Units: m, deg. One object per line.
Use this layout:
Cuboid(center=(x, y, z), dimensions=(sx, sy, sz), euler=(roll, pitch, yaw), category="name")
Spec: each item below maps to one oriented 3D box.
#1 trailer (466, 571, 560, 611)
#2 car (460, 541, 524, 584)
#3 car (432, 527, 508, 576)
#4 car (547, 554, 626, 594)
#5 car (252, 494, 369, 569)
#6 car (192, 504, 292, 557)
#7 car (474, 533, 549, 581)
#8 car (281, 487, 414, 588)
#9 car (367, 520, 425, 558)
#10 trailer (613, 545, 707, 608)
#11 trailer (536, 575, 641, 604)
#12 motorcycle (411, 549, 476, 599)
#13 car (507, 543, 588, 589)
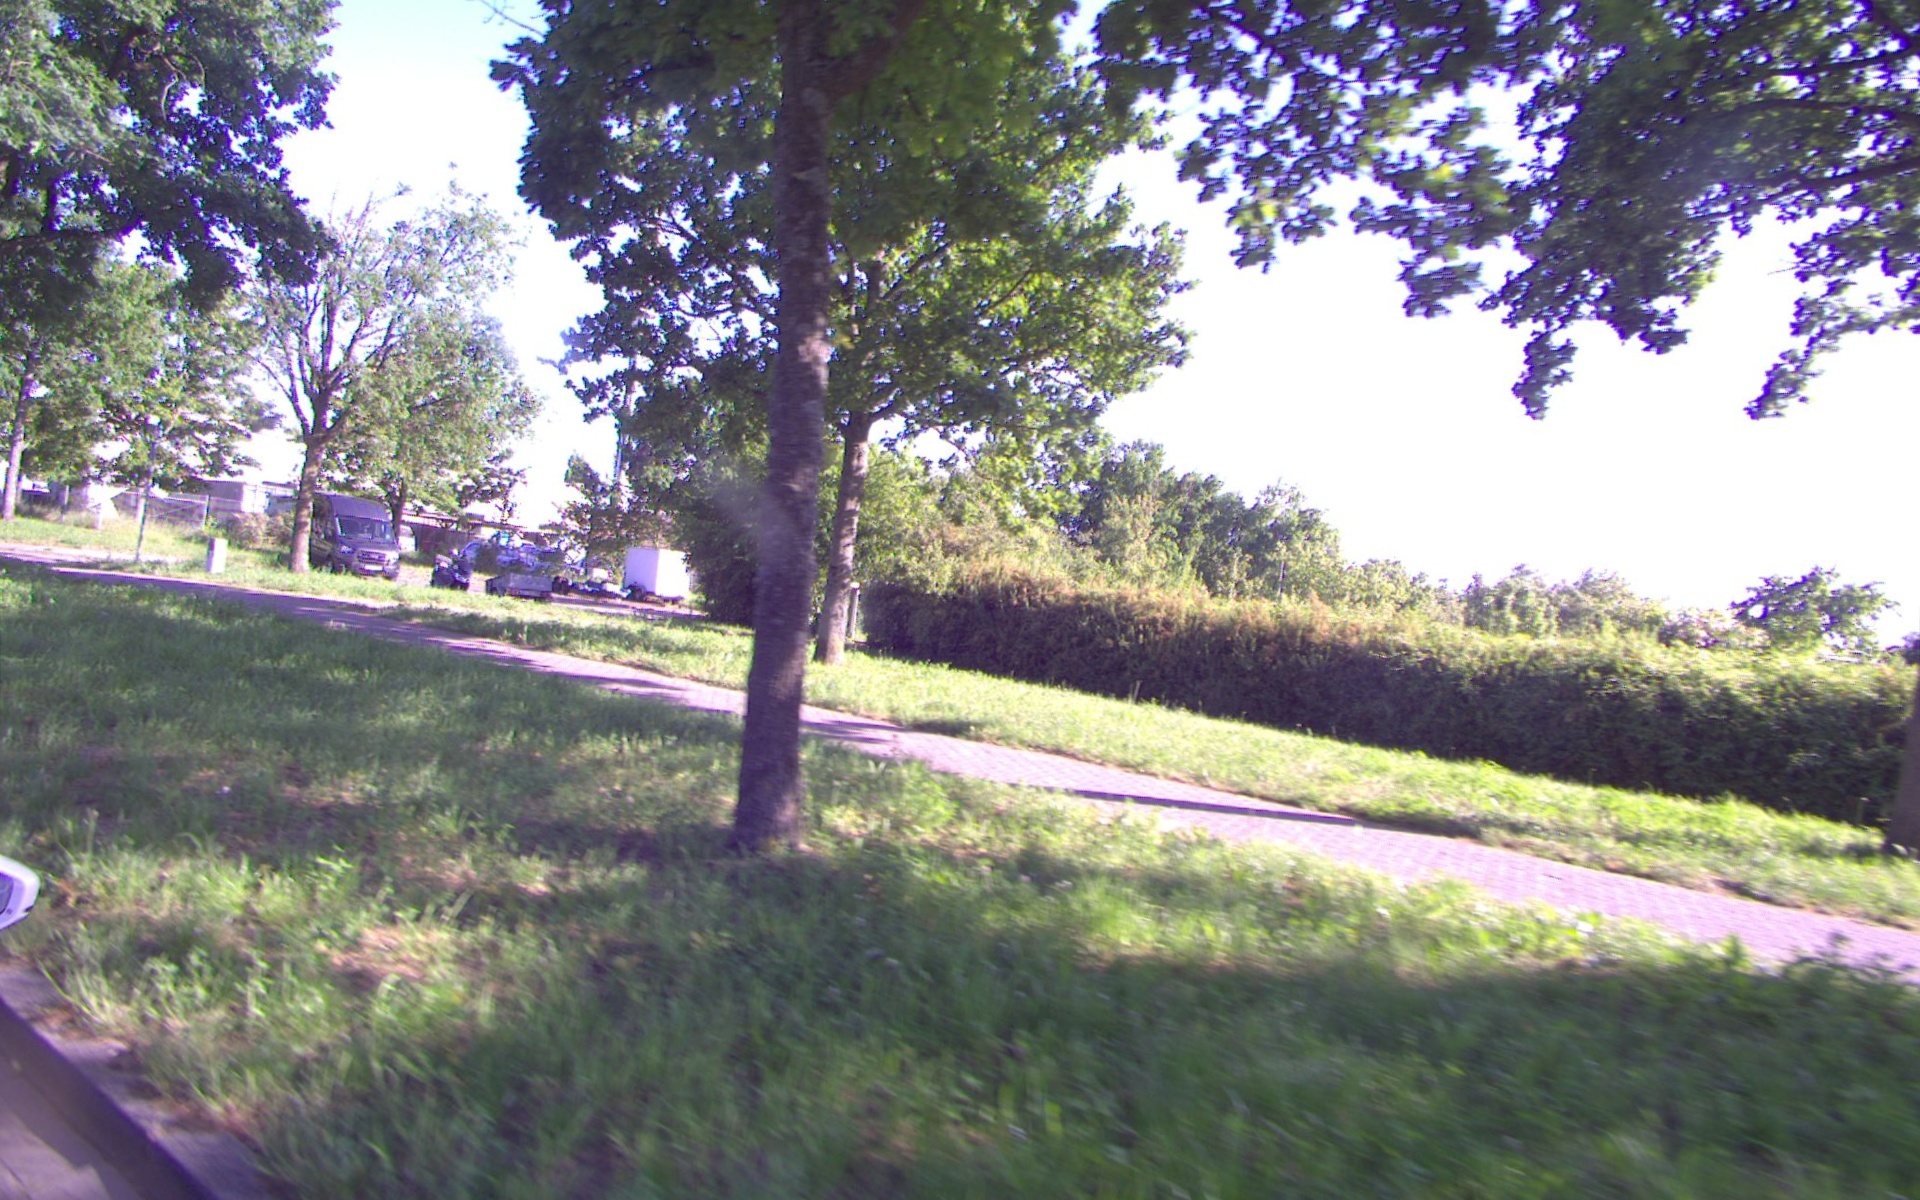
Cuboid(center=(-11.967, -0.238, 26.935), dimensions=(2.028, 0.878, 1.576), euler=(2, -4, 42), category="trailer")
Cuboid(center=(-22.765, -1.839, 48.883), dimensions=(1.826, 1.660, 3.956), euler=(7, 0, -39), category="car")
Cuboid(center=(-28.633, -2.849, 58.721), dimensions=(4.942, 2.087, 2.083), euler=(11, 1, 42), category="car")
Cuboid(center=(-19.798, -1.381, 53.293), dimensions=(3.940, 1.612, 1.993), euler=(7, 0, 38), category="car")
Cuboid(center=(-28.311, -2.983, 43.808), dimensions=(4.768, 2.676, 2.163), euler=(7, 1, 30), category="car")
Cuboid(center=(-29.695, -2.857, 41.594), dimensions=(3.536, 1.685, 2.008), euler=(7, 0, 30), category="car")
Cuboid(center=(-27.043, -2.597, 60.547), dimensions=(4.942, 2.087, 2.083), euler=(11, 1, 42), category="car")
Cuboid(center=(-21.198, -2.207, 34.679), dimensions=(5.887, 2.597, 2.082), euler=(11, 1, 42), category="car")
Cuboid(center=(-30.840, -3.338, 54.932), dimensions=(1.828, 1.660, 3.952), euler=(7, 0, -42), category="car")
Cuboid(center=(-13.318, -1.057, 44.639), dimensions=(3.737, 2.336, 2.185), euler=(7, 0, 42), category="trailer")
Cuboid(center=(-15.762, -0.457, 42.547), dimensions=(4.756, 0.659, 2.224), euler=(7, -1, 42), category="trailer")
Cuboid(center=(-13.983, -0.690, 27.197), dimensions=(2.375, 1.245, 0.661), euler=(1, -3, 42), category="motorcycle")
Cuboid(center=(-21.153, -1.755, 51.503), dimensions=(3.940, 1.846, 1.993), euler=(7, 0, 38), category="car")
